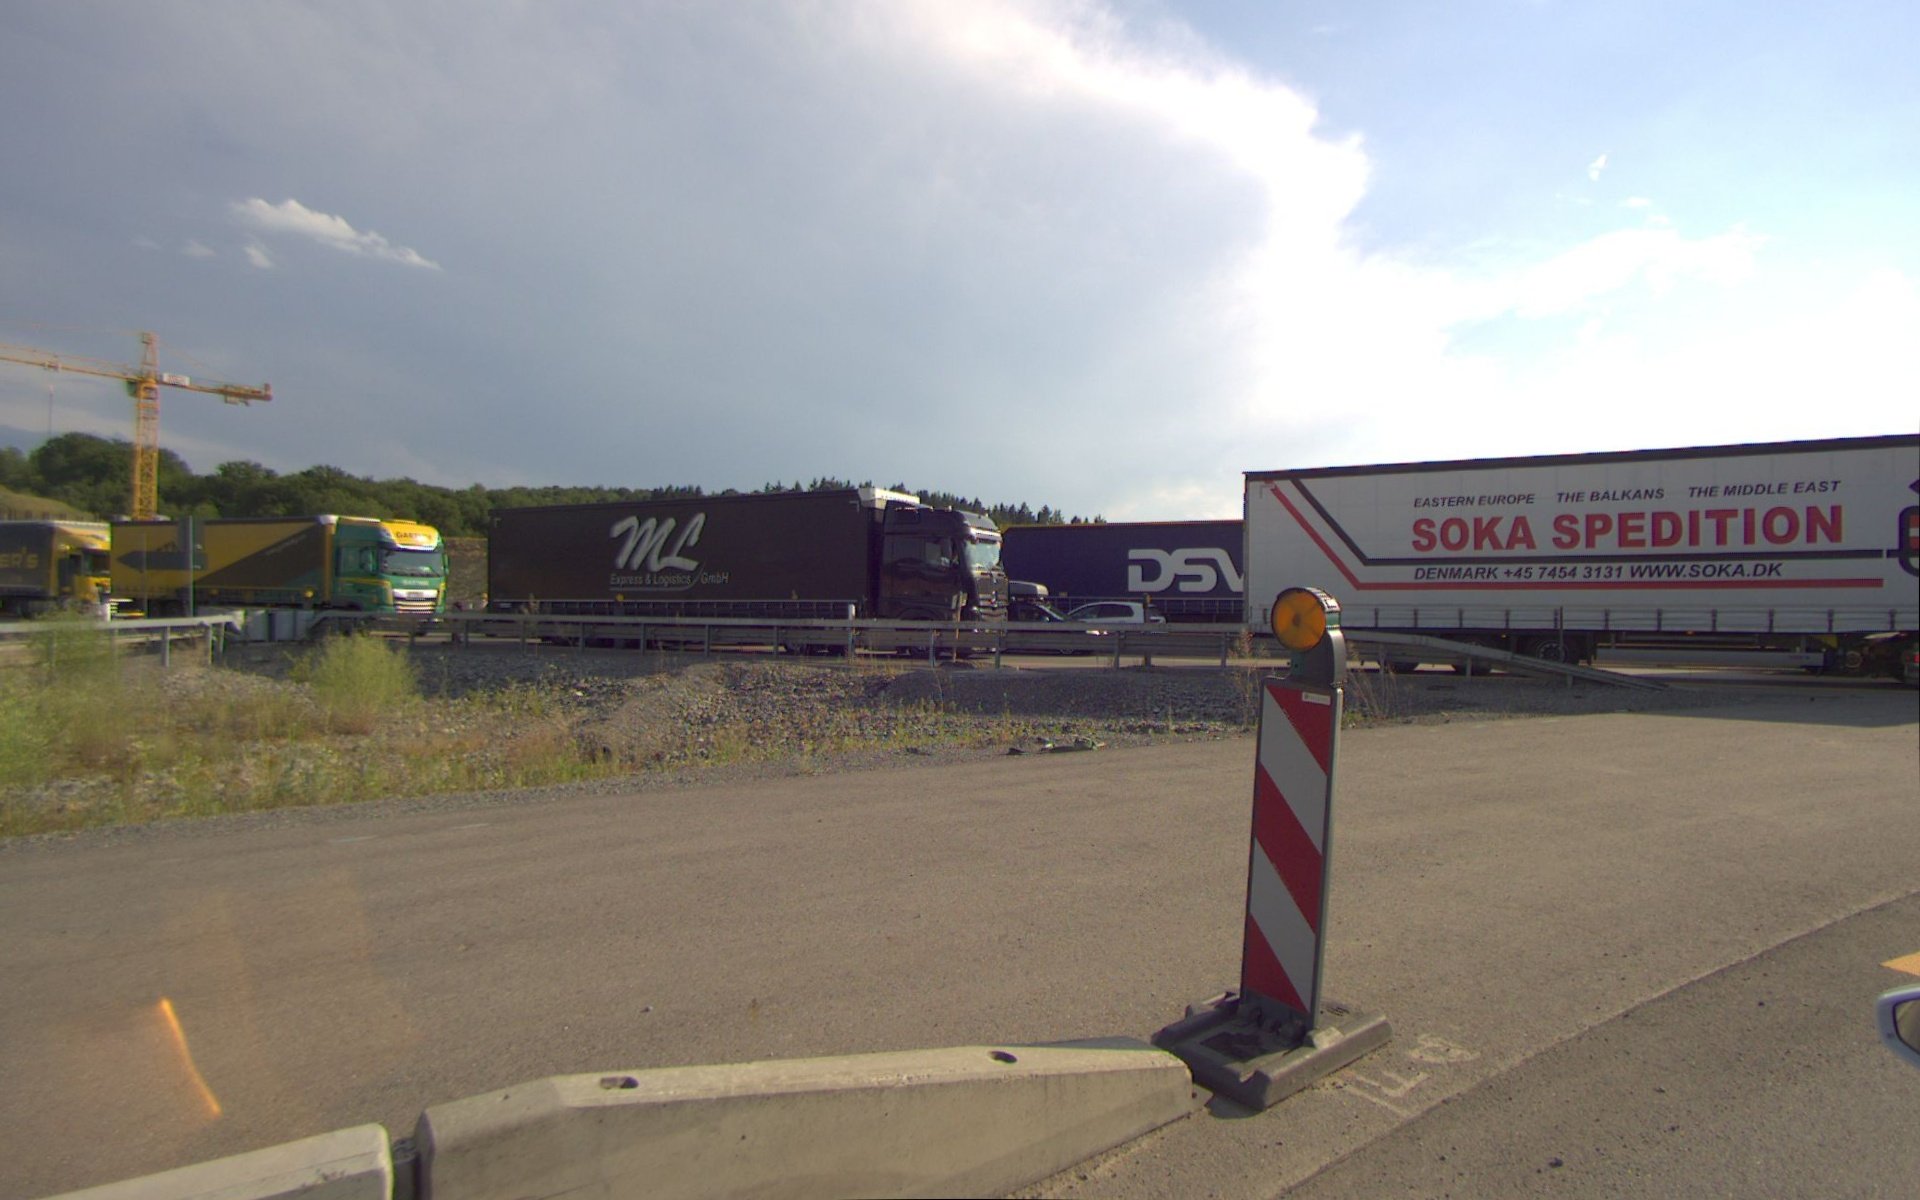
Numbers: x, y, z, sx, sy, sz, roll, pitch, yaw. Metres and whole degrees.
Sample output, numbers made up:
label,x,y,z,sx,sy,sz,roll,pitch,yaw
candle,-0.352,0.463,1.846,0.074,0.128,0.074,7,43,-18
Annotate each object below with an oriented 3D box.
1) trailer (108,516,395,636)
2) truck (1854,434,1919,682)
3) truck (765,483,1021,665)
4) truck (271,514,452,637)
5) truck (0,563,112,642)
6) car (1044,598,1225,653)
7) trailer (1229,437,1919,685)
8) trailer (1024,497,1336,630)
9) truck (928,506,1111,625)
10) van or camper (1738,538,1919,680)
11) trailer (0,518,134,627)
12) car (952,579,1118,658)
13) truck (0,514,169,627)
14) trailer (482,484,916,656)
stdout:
label,x,y,z,sx,sy,sz,roll,pitch,yaw
trailer,-26.845,-0.854,37.669,13.714,4.011,2.486,1,-1,26
truck,18.332,-0.613,15.780,5.898,3.930,2.486,1,-1,25
truck,-1.694,-0.600,25.164,5.899,4.114,2.486,1,-1,26
truck,-20.675,-0.800,34.682,5.899,3.953,2.486,1,-1,26
truck,-49.096,0.130,54.038,6.500,4.049,2.855,1,-1,26
car,5.144,0.697,29.697,4.886,1.520,2.033,0,1,27
trailer,12.077,-0.636,18.732,13.374,3.930,2.486,1,-1,25
trailer,7.029,-1.048,32.585,9.392,3.801,3.014,1,-2,27
truck,2.078,-1.097,34.995,5.582,3.776,3.004,1,-2,26
van or camper,19.026,0.187,19.548,5.792,2.655,1.998,1,0,26
trailer,-43.010,-1.159,45.480,13.986,4.370,3.111,1,-2,26
car,2.035,0.482,27.514,4.249,2.040,1.525,1,-2,25
truck,-37.265,-1.161,42.586,6.768,4.370,3.111,1,-2,27
trailer,-7.698,-0.764,28.114,13.377,4.115,2.486,1,-1,26
